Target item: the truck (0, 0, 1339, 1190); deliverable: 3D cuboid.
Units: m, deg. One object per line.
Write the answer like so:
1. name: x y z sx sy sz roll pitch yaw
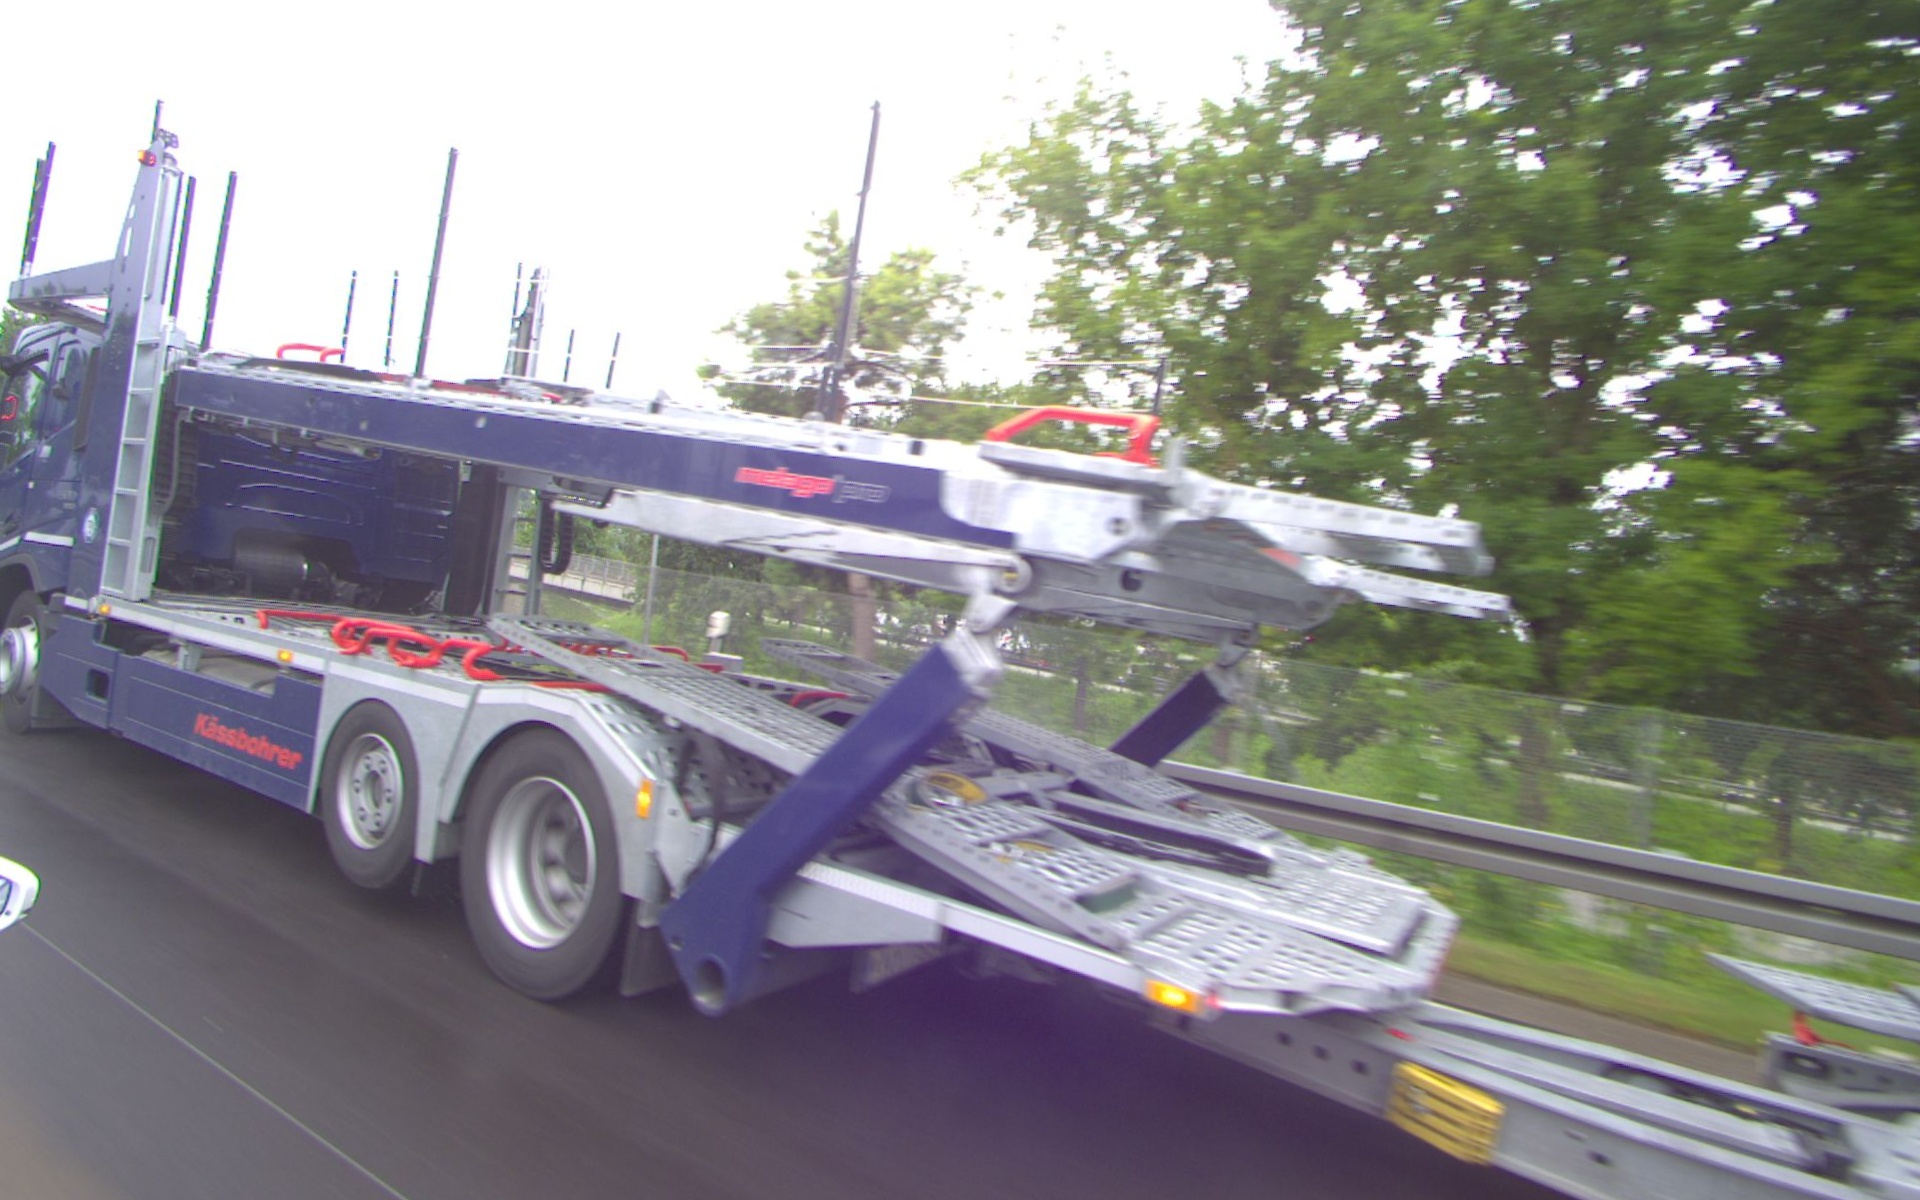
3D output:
1. truck: -2.884 -0.810 6.079 8.978 4.015 2.743 6 -1 32

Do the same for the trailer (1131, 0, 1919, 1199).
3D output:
1. trailer: 5.586 0.568 0.737 10.231 3.325 2.782 7 0 31
